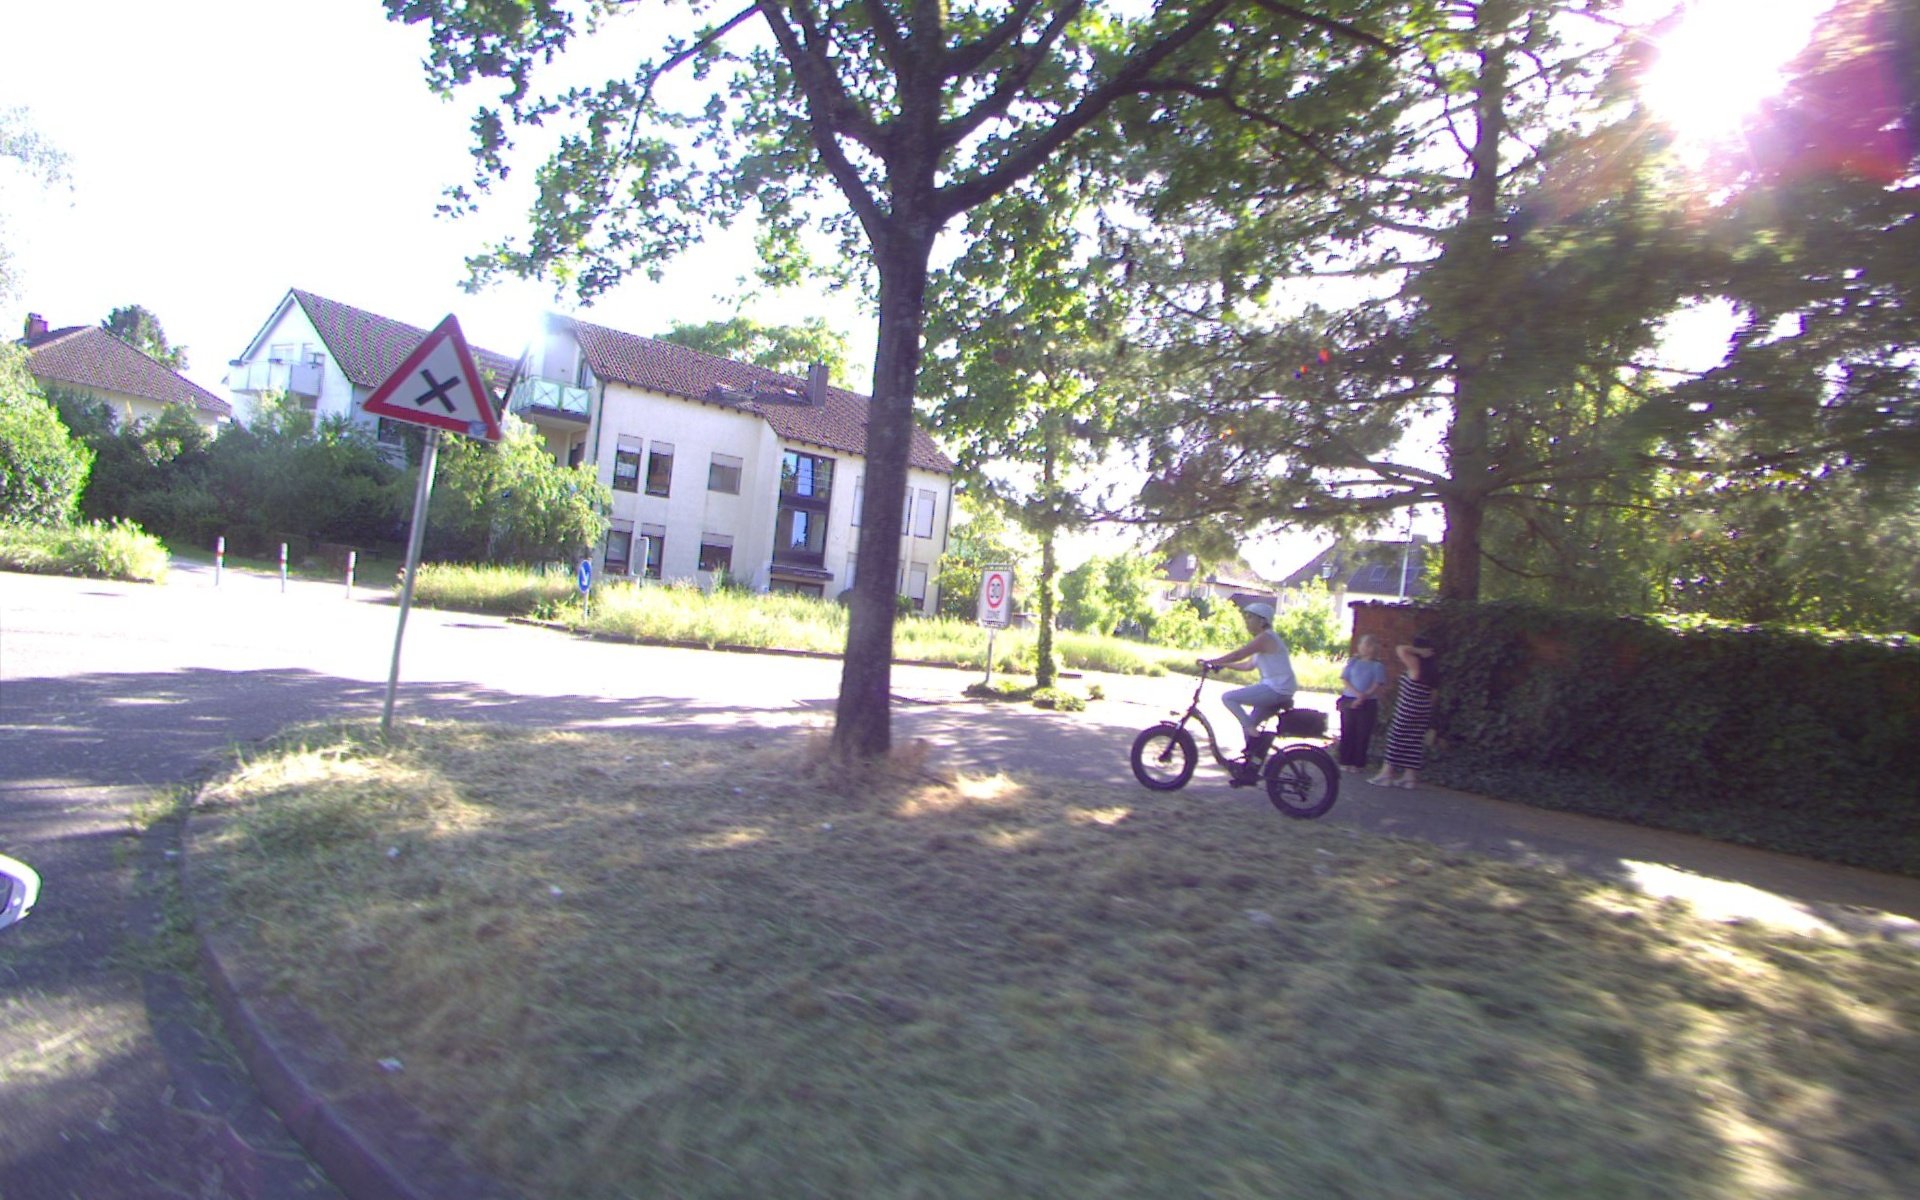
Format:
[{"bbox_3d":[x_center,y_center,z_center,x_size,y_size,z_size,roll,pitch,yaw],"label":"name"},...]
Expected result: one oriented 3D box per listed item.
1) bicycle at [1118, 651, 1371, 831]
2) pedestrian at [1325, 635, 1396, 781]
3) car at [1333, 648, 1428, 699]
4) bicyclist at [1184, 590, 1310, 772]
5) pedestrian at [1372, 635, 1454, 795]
[{"bbox_3d":[2.357,1.131,8.408,1.863,1.159,0.458,7,1,22],"label":"bicycle"},{"bbox_3d":[4.484,1.191,11.258,0.529,1.539,0.395,7,1,30],"label":"pedestrian"},{"bbox_3d":[18.570,3.231,44.562,3.582,1.738,1.748,7,0,18],"label":"car"},{"bbox_3d":[2.409,0.653,8.410,0.823,1.364,0.638,7,1,21],"label":"bicyclist"},{"bbox_3d":[4.726,1.185,10.519,0.528,1.580,0.396,7,1,9],"label":"pedestrian"}]
